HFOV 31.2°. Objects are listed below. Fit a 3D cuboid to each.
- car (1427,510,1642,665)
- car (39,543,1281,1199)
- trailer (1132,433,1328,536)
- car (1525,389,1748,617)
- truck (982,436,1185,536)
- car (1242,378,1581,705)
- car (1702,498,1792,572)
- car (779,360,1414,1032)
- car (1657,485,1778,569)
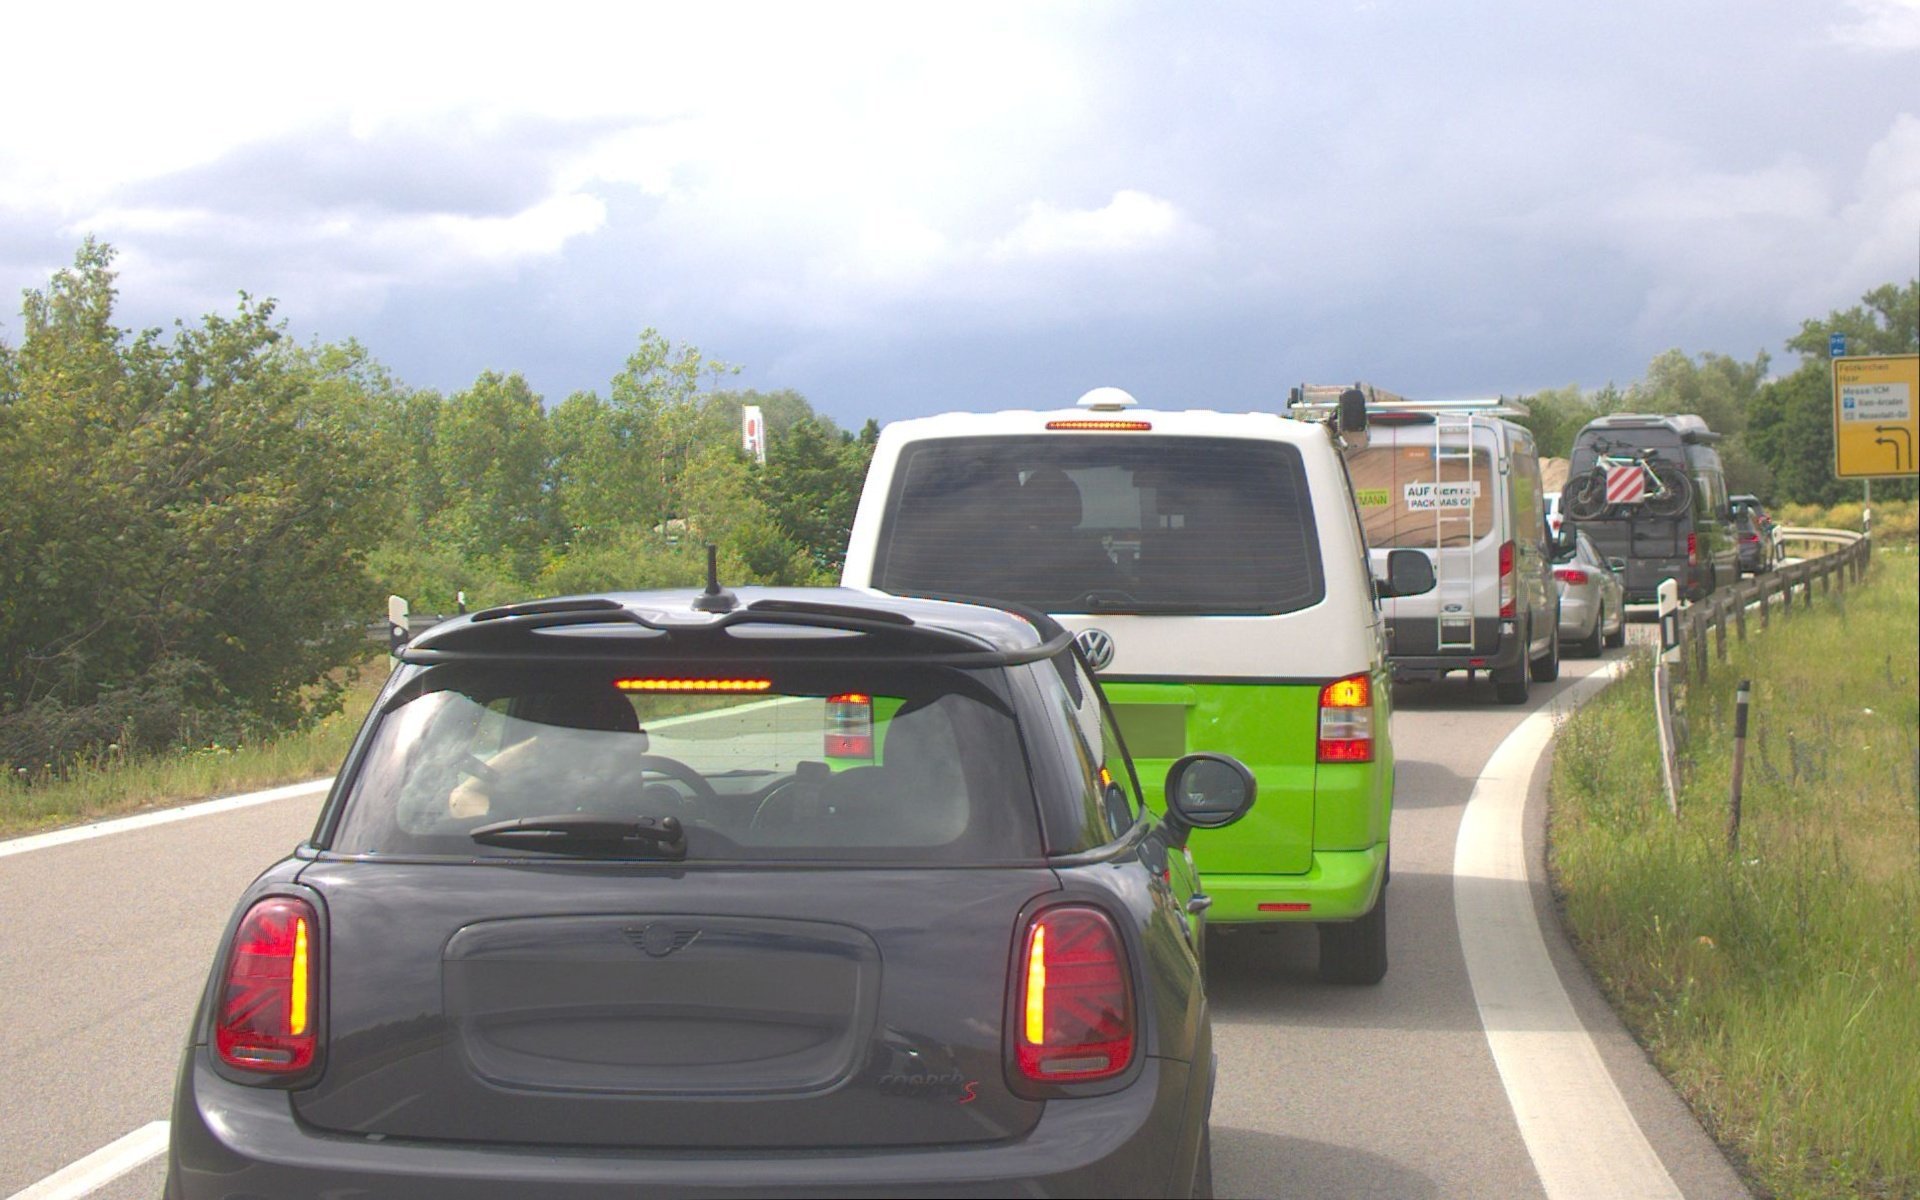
[{"bbox_3d":[6.551,-0.150,38.932,1.995,1.636,3.926,1,1,15],"label":"car"},{"bbox_3d":[-0.329,0.670,6.822,1.800,1.541,3.738,0,1,4],"label":"car"},{"bbox_3d":[10.508,-4.473,135.056,3.036,3.884,8.773,1,1,-32],"label":"trailer"},{"bbox_3d":[9.872,-1.342,49.718,2.313,3.058,6.656,1,1,18],"label":"car"},{"bbox_3d":[5.045,-4.673,142.730,2.836,3.962,10.029,0,1,-36],"label":"truck"},{"bbox_3d":[4.106,-0.500,30.379,2.213,2.613,5.530,1,1,15],"label":"car"},{"bbox_3d":[20.767,-1.699,90.857,2.096,1.876,4.493,1,1,11],"label":"car"},{"bbox_3d":[0.678,0.257,12.638,1.911,2.038,4.180,0,1,8],"label":"car"},{"bbox_3d":[15.147,-1.429,68.578,1.895,1.583,4.491,1,1,18],"label":"car"}]
